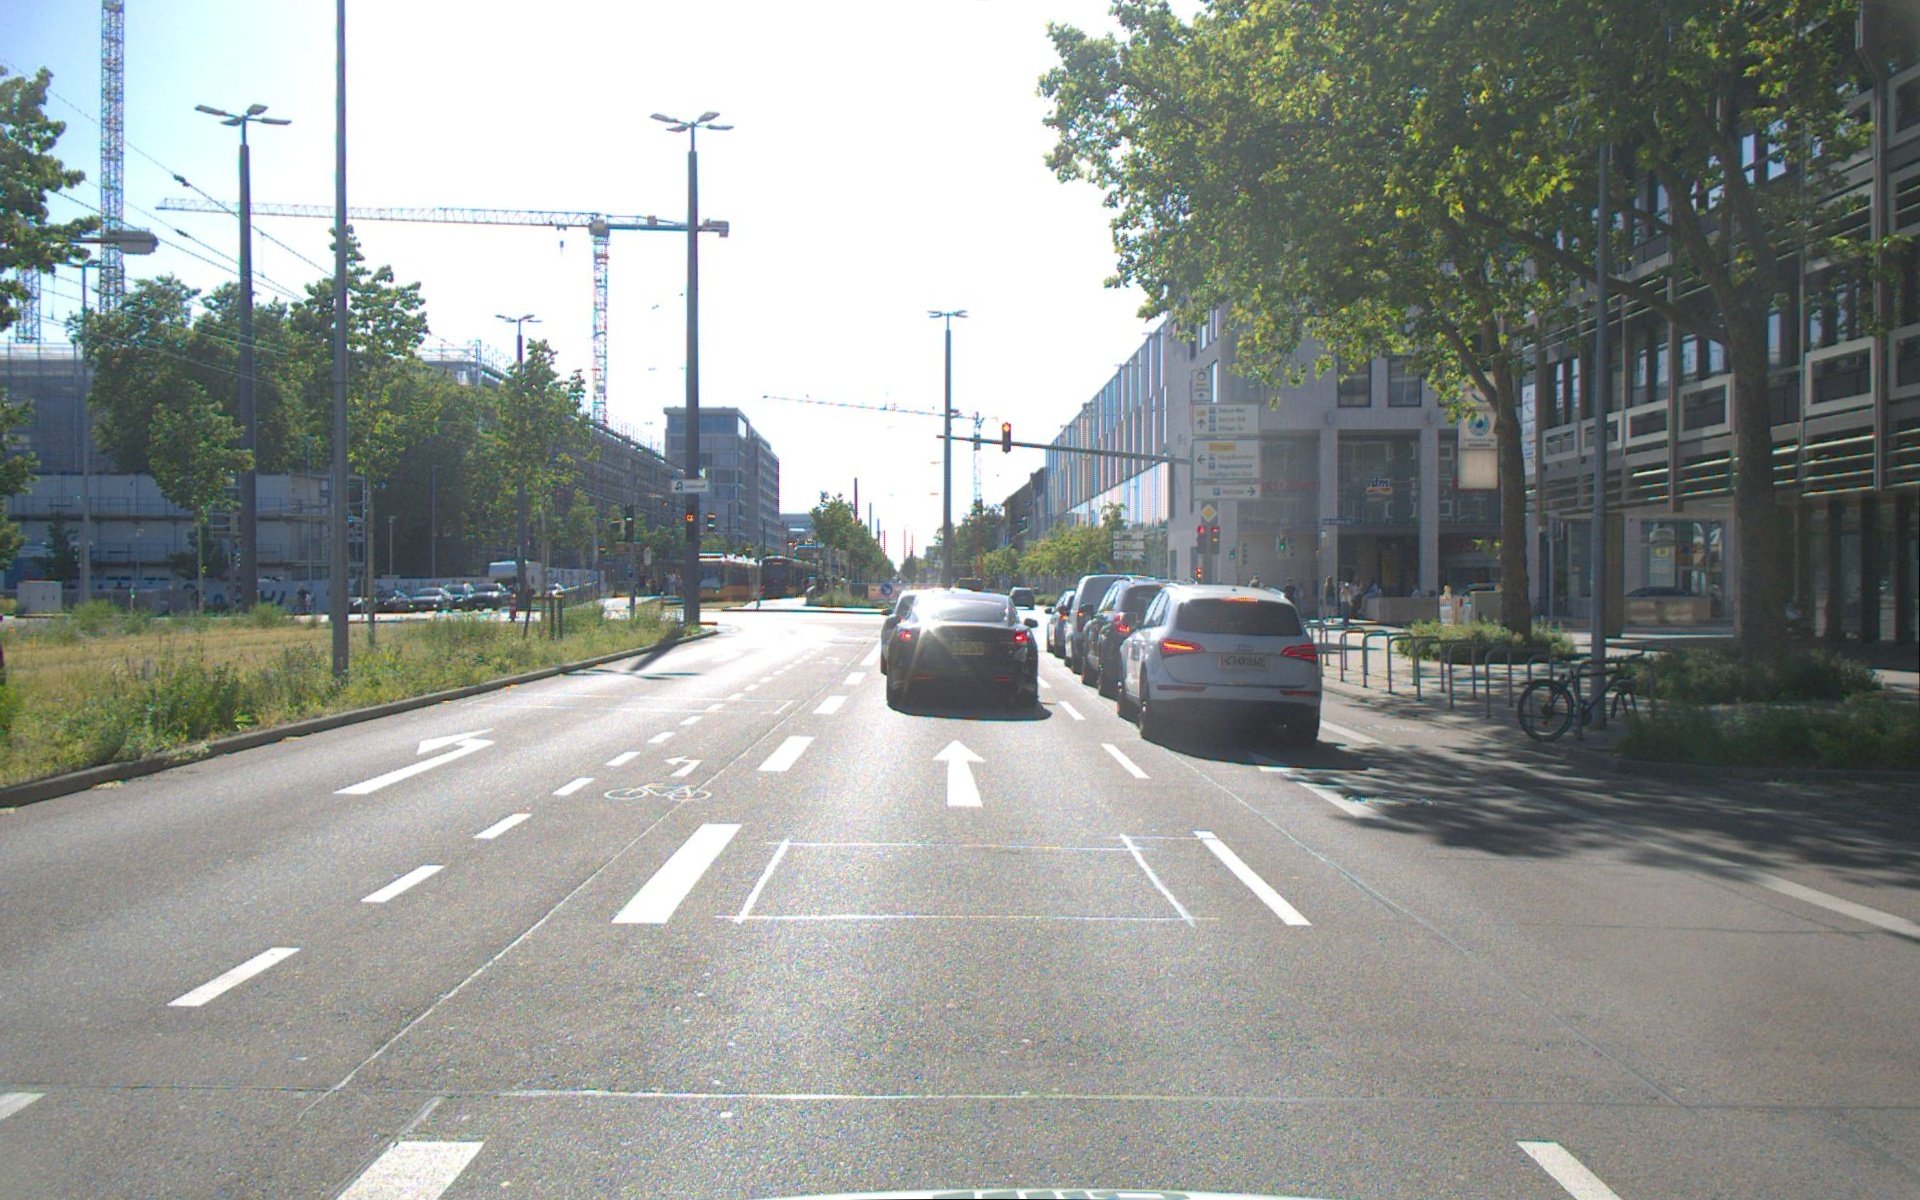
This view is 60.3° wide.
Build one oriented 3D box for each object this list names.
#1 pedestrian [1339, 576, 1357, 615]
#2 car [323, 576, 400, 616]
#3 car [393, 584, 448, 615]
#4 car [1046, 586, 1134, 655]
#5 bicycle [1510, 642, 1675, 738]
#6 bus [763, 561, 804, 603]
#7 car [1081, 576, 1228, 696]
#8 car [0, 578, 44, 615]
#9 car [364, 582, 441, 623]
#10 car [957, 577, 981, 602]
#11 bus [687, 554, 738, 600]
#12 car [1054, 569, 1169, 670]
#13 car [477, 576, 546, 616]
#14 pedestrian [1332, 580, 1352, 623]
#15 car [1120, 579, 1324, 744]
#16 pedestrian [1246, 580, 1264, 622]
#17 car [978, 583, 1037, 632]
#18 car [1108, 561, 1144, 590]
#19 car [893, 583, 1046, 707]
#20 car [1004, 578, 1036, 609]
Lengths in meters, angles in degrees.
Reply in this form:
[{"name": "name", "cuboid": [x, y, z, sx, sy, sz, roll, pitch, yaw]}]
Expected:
[{"name": "pedestrian", "cuboid": [15.134, -0.171, 64.533, 0.550, 1.466, 0.632, 2, -1, 6]}, {"name": "car", "cuboid": [-19.164, -0.127, 53.072, 1.348, 1.199, 3.219, 2, 0, -1]}, {"name": "car", "cuboid": [-30.267, -0.041, 92.878, 1.800, 1.641, 3.894, 2, 0, -1]}, {"name": "car", "cuboid": [2.938, 0.433, 38.082, 1.686, 1.456, 4.186, 0, 1, 0]}, {"name": "bicycle", "cuboid": [6.981, 0.985, 18.272, 1.660, 0.974, 0.478, -1, 1, -5]}, {"name": "bus", "cuboid": [-13.783, -1.351, 129.885, 2.575, 3.011, 9.892, 2, 0, -3]}, {"name": "car", "cuboid": [2.903, 0.483, 25.455, 1.686, 1.682, 4.185, 0, 1, -1]}, {"name": "car", "cuboid": [-41.610, -0.166, 71.582, 1.676, 1.583, 3.999, 2, 0, -1]}, {"name": "car", "cuboid": [-17.340, 0.083, 51.550, 1.348, 1.199, 3.219, 2, 0, -1]}, {"name": "car", "cuboid": [0.752, -0.900, 141.019, 1.953, 2.049, 3.999, 2, 0, -1]}, {"name": "bus", "cuboid": [-16.810, -1.501, 112.867, 2.575, 2.831, 8.838, 2, 0, -3]}, {"name": "car", "cuboid": [2.865, 0.330, 32.062, 1.687, 1.813, 4.184, 0, 1, -2]}, {"name": "car", "cuboid": [-14.278, -0.106, 52.756, 1.348, 1.199, 3.219, 2, 0, -1]}, {"name": "pedestrian", "cuboid": [13.452, 0.055, 58.226, 0.550, 1.466, 0.632, 2, -1, 6]}, {"name": "car", "cuboid": [2.821, 0.588, 18.646, 1.686, 1.646, 4.187, 0, 1, 1]}, {"name": "pedestrian", "cuboid": [10.583, 0.034, 59.332, 0.550, 1.466, 0.632, 2, -1, 6]}, {"name": "car", "cuboid": [1.434, 0.202, 51.253, 1.686, 1.456, 4.186, 0, 1, 0]}, {"name": "car", "cuboid": [10.150, -1.486, 101.204, 1.629, 1.678, 3.699, 2, 0, -3]}, {"name": "car", "cuboid": [0.059, 0.537, 22.354, 1.873, 1.512, 4.008, 0, 1, -2]}, {"name": "car", "cuboid": [4.086, -0.417, 113.906, 1.953, 2.049, 3.999, 2, 0, -1]}]
